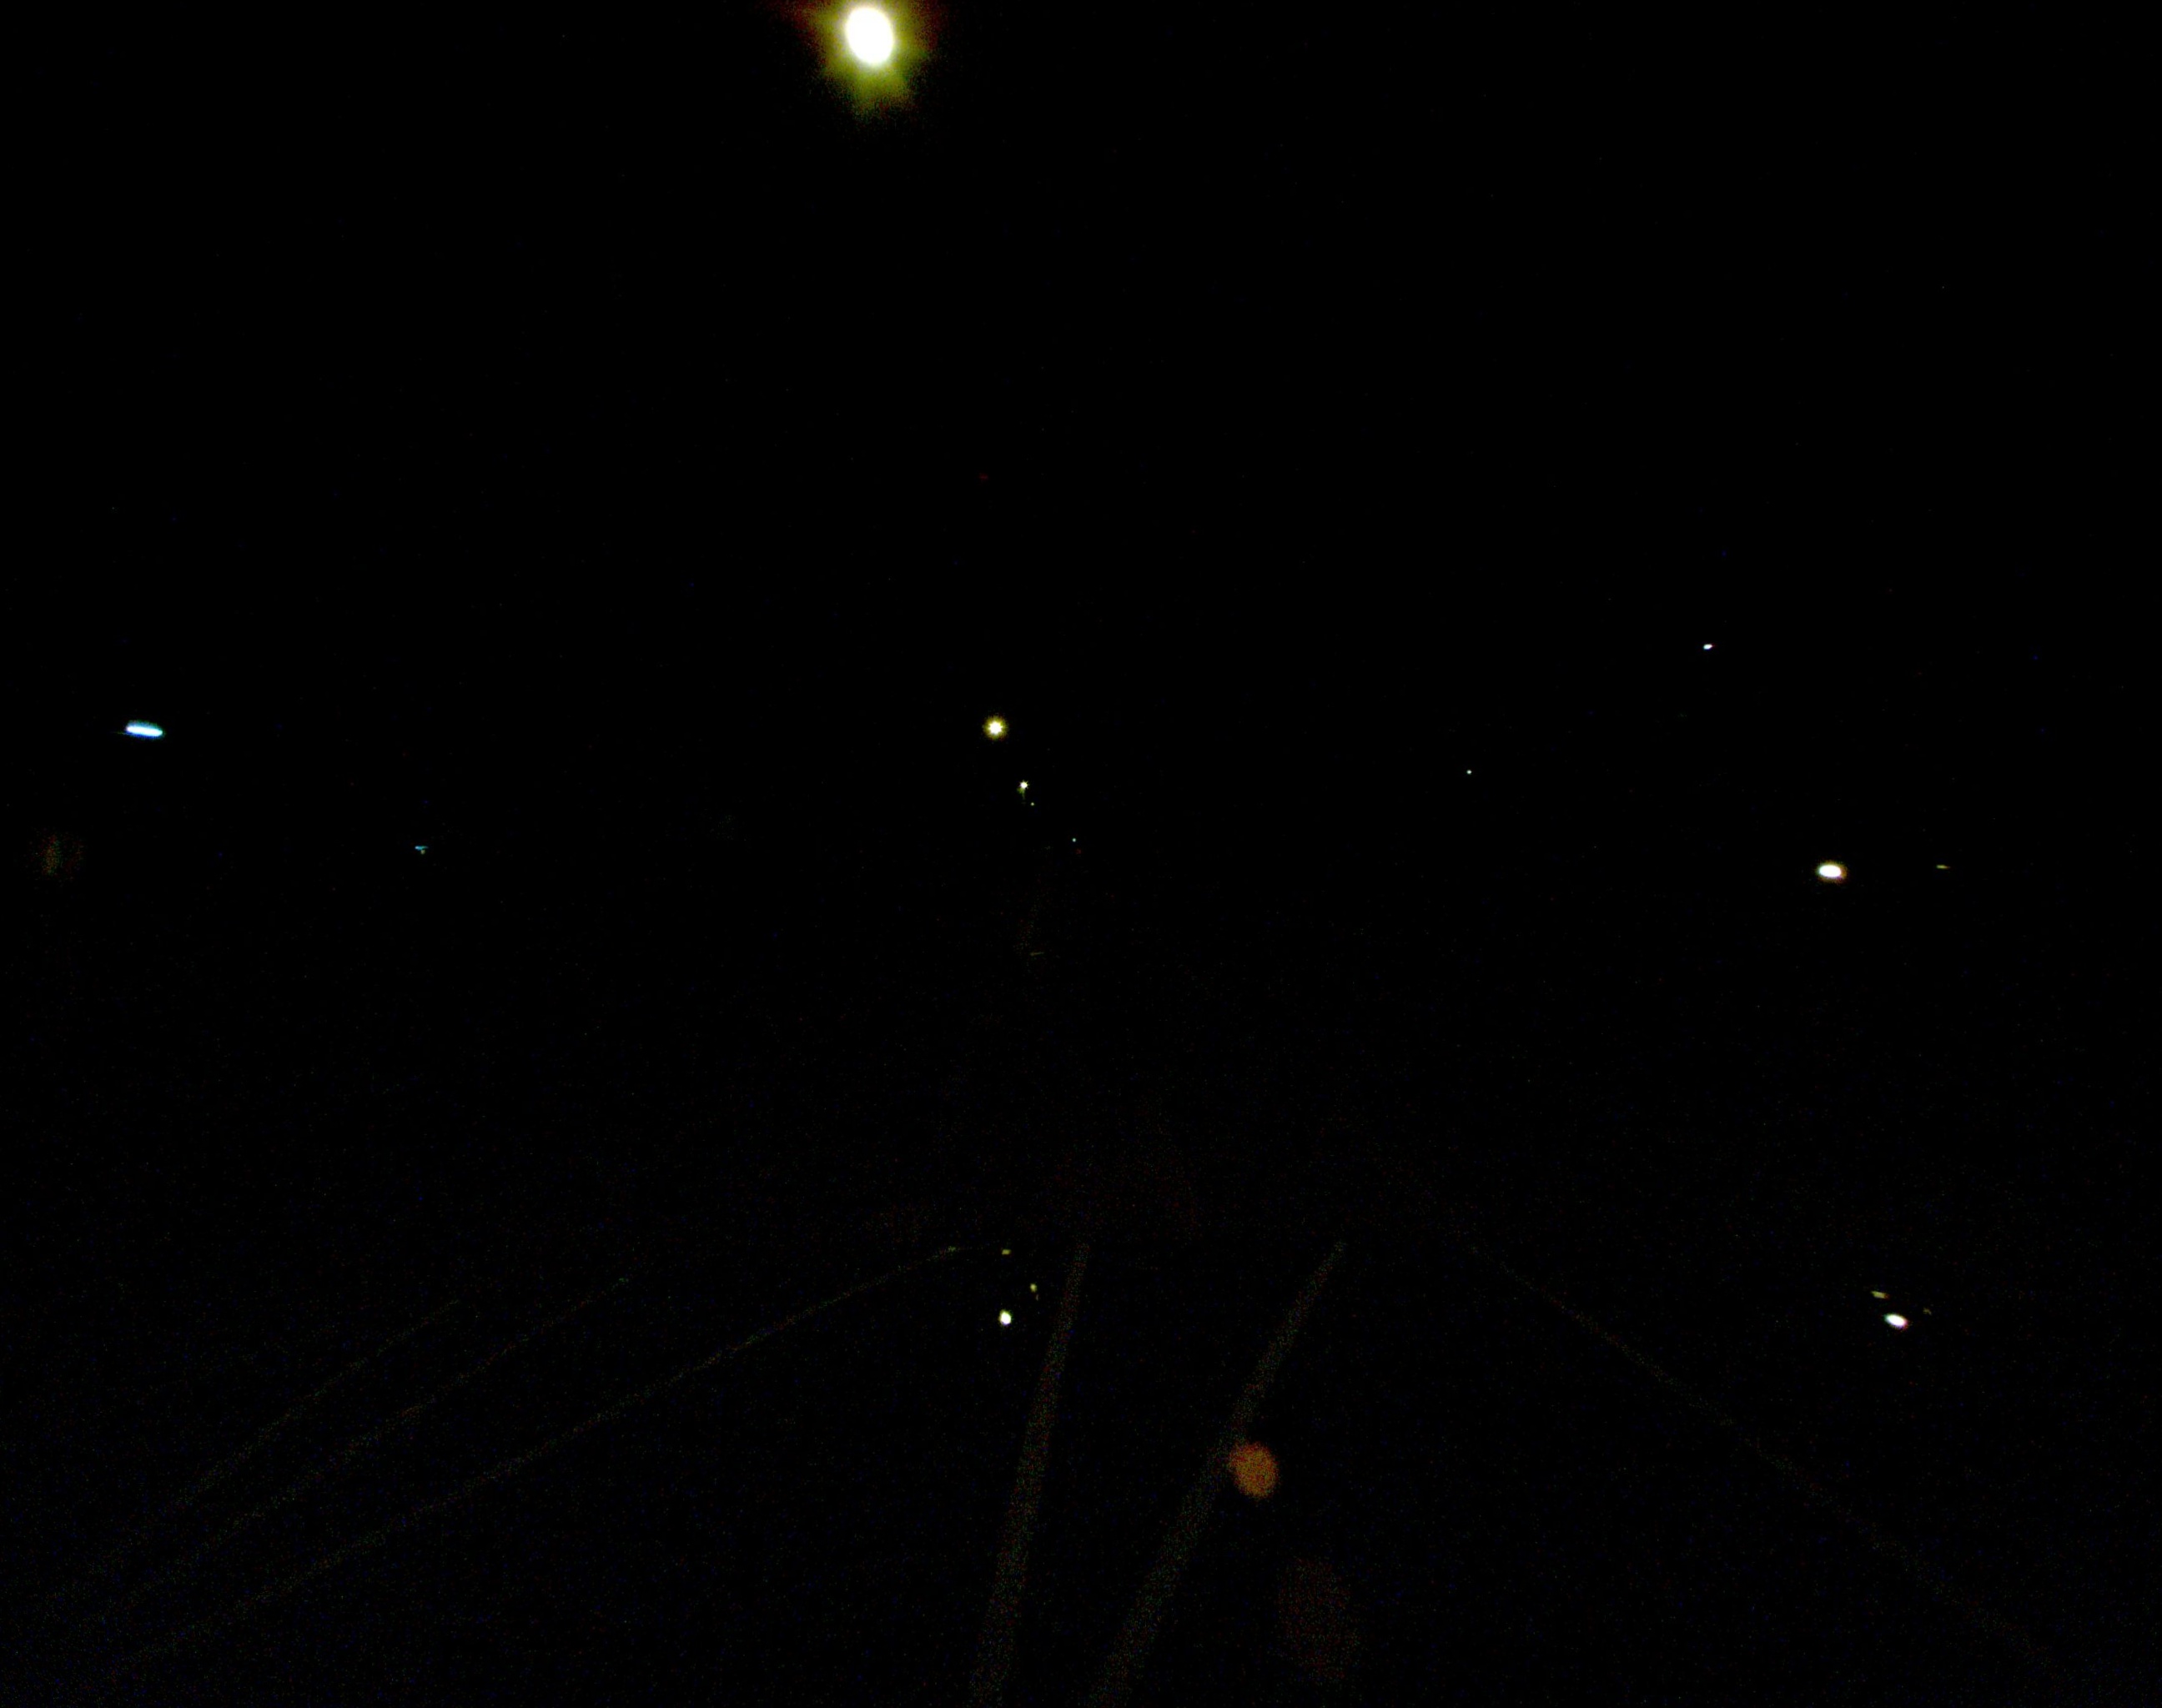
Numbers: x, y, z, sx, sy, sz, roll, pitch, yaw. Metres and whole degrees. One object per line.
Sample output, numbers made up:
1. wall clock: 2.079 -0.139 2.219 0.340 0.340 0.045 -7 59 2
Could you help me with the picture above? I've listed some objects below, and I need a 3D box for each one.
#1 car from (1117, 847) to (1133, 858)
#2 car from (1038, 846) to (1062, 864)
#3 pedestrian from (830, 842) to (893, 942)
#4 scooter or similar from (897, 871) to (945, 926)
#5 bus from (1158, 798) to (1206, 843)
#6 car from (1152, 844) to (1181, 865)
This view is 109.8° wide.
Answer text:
1. car: 5.849 -0.224 102.103 1.863 1.484 4.080 -3 1 1
2. car: -3.226 0.095 79.776 1.998 1.638 4.000 1 2 5
3. pedestrian: -4.277 0.717 14.873 0.819 1.854 1.034 -3 1 1
4. scooter or similar: -3.707 1.019 17.700 0.468 1.195 1.137 -2 -1 24
5. bus: 17.133 -5.575 130.912 6.135 6.898 14.781 -3 1 1
6. car: 6.988 0.010 62.466 1.806 1.583 3.999 -3 1 0
